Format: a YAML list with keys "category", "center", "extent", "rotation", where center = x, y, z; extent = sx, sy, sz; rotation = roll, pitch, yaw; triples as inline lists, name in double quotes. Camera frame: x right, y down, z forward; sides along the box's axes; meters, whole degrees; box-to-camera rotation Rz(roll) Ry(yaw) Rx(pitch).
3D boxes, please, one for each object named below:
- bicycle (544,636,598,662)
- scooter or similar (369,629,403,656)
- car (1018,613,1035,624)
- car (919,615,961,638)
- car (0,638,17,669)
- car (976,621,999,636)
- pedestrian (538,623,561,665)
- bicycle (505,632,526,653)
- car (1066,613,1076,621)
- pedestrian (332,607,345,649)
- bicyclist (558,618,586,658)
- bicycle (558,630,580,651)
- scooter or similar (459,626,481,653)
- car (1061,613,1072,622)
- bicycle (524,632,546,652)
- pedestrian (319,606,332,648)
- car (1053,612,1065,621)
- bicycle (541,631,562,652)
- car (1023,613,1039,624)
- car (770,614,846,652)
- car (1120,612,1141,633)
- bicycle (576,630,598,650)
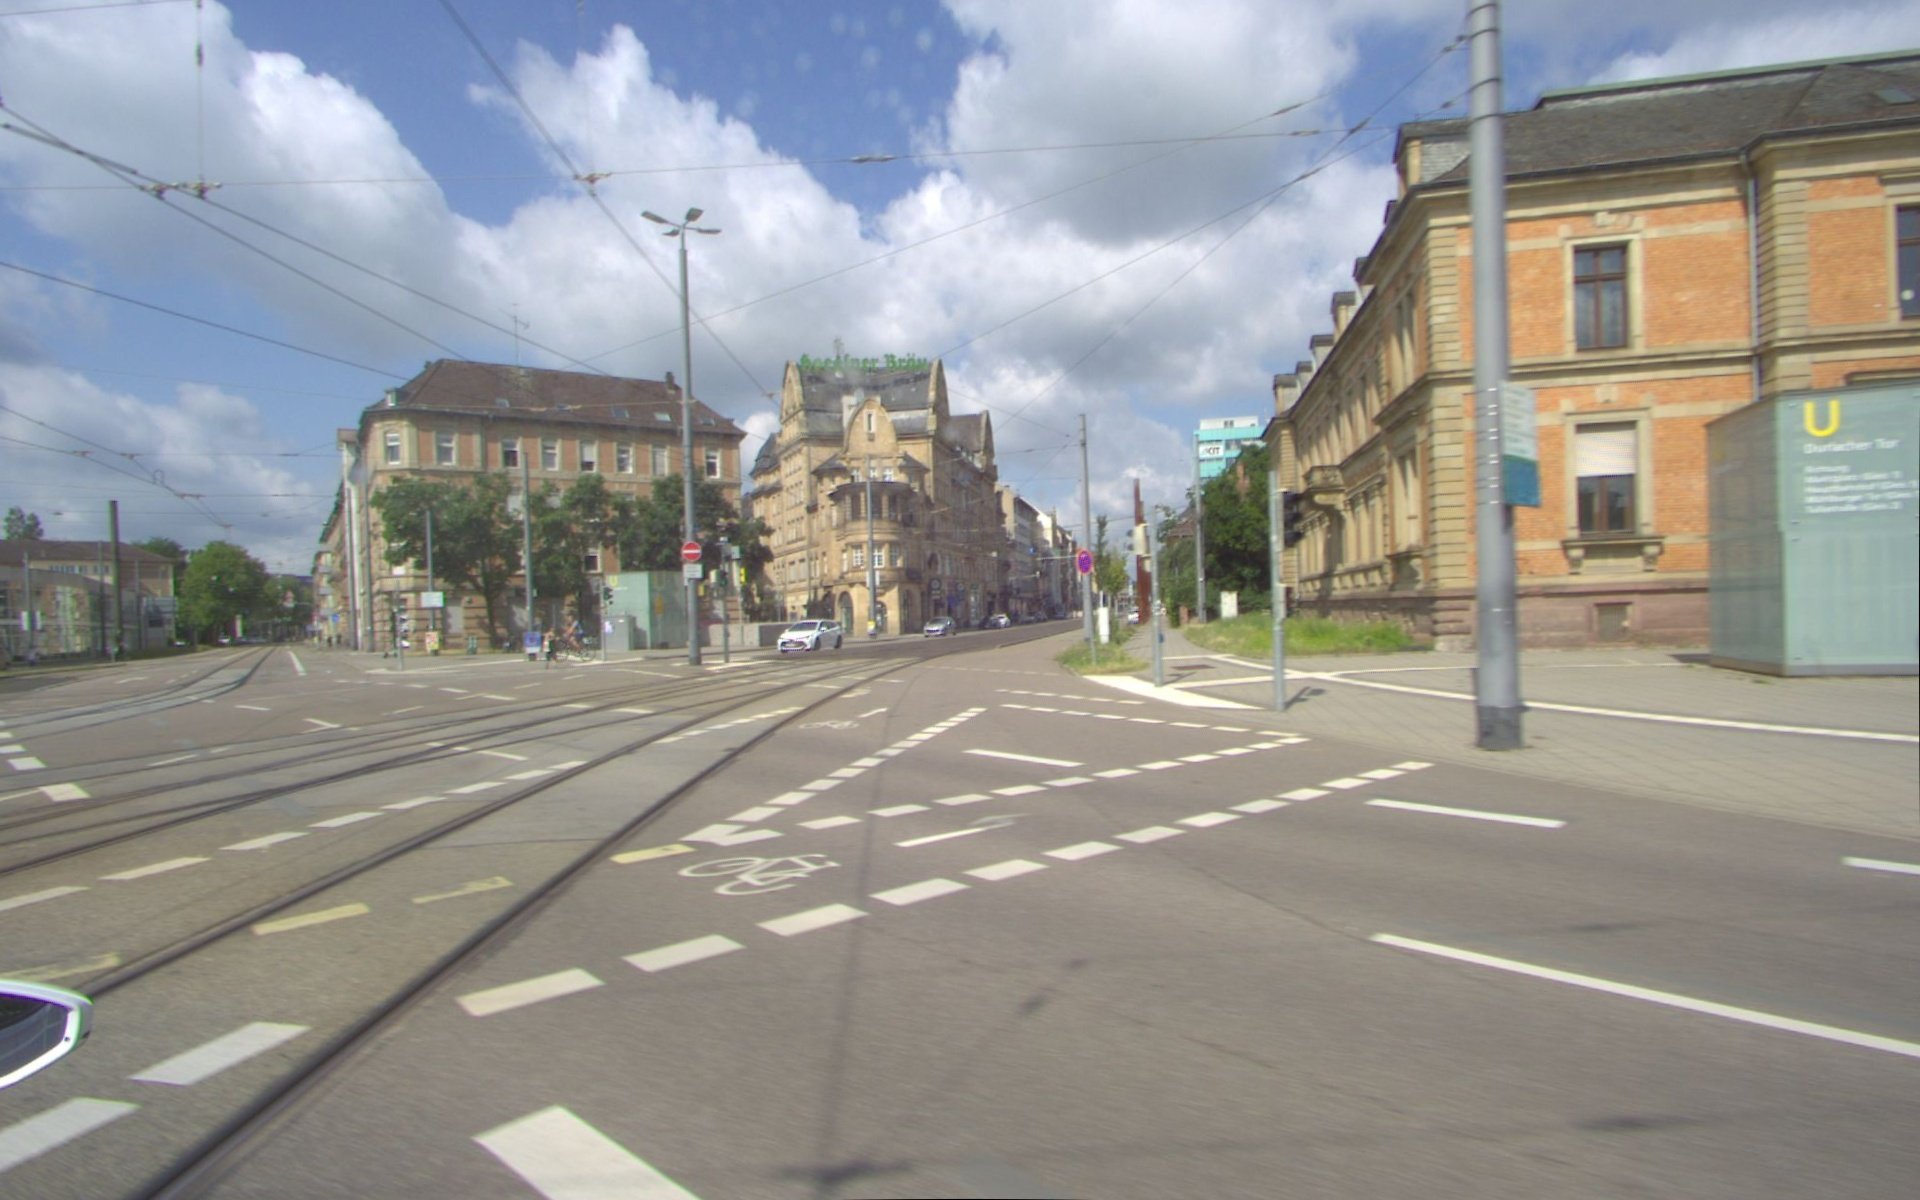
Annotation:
- category: "bicycle"
  center: [-16.799, 2.124, 43.248]
  extent: [2.161, 1.083, 0.875]
  rotation: [0, -2, -22]
- category: "scooter or similar"
  center: [-31.909, 2.375, 55.625]
  extent: [1.167, 1.403, 2.782]
  rotation: [0, -3, -40]
- category: "car"
  center: [8.907, 2.458, 134.551]
  extent: [1.834, 1.401, 4.000]
  rotation: [-2, -2, 9]
- category: "car"
  center: [-1.486, 2.051, 76.153]
  extent: [1.808, 1.616, 3.992]
  rotation: [-2, -3, 22]
- category: "car"
  center: [-50.987, 2.817, 52.037]
  extent: [1.970, 1.594, 3.720]
  rotation: [-1, -1, -29]
- category: "car"
  center: [2.884, 2.981, 103.861]
  extent: [1.834, 1.401, 4.001]
  rotation: [-2, -3, 9]
- category: "pedestrian"
  center: [-15.608, 1.673, 38.101]
  extent: [0.731, 1.536, 0.542]
  rotation: [-2, 0, -26]
- category: "bicycle"
  center: [-26.183, 2.501, 58.918]
  extent: [0.751, 1.181, 2.670]
  rotation: [-2, -1, -32]
- category: "car"
  center: [22.087, 3.446, 199.224]
  extent: [1.834, 1.401, 4.001]
  rotation: [-2, -3, 9]
- category: "pedestrian"
  center: [-46.461, 2.104, 74.897]
  extent: [0.715, 3.114, 0.885]
  rotation: [0, -2, -25]
- category: "bicyclist"
  center: [-16.744, 1.661, 43.217]
  extent: [1.129, 1.695, 0.614]
  rotation: [0, -2, -22]
- category: "bicycle"
  center: [-23.702, 2.456, 60.719]
  extent: [0.751, 1.181, 2.670]
  rotation: [-2, -1, -32]
- category: "scooter or similar"
  center: [-28.287, 2.299, 57.779]
  extent: [0.869, 1.501, 2.002]
  rotation: [-2, -1, -34]
- category: "car"
  center: [20.538, 3.364, 192.420]
  extent: [1.834, 1.401, 4.001]
  rotation: [-2, -3, 9]
- category: "bicycle"
  center: [-25.270, 2.485, 59.524]
  extent: [0.751, 1.180, 2.670]
  rotation: [2, -2, -32]
- category: "pedestrian"
  center: [-47.225, 2.011, 74.537]
  extent: [0.657, 3.160, 0.885]
  rotation: [0, -2, -25]
- category: "car"
  center: [17.724, 3.009, 178.463]
  extent: [1.834, 1.401, 4.001]
  rotation: [-2, -3, 9]
- category: "bicycle"
  center: [-24.543, 2.486, 60.173]
  extent: [0.751, 1.180, 2.671]
  rotation: [0, -3, -31]
- category: "car"
  center: [10.031, 2.584, 141.101]
  extent: [1.834, 1.402, 3.998]
  rotation: [-2, -1, 9]
- category: "car"
  center: [-6.912, 1.543, 46.021]
  extent: [1.921, 1.616, 4.505]
  rotation: [-2, -3, 13]
- category: "car"
  center: [17.732, 2.360, 104.087]
  extent: [1.962, 2.039, 4.001]
  rotation: [-2, -2, 8]
- category: "bicycle"
  center: [-22.839, 2.446, 61.300]
  extent: [0.751, 1.181, 2.670]
  rotation: [-2, -1, -32]
